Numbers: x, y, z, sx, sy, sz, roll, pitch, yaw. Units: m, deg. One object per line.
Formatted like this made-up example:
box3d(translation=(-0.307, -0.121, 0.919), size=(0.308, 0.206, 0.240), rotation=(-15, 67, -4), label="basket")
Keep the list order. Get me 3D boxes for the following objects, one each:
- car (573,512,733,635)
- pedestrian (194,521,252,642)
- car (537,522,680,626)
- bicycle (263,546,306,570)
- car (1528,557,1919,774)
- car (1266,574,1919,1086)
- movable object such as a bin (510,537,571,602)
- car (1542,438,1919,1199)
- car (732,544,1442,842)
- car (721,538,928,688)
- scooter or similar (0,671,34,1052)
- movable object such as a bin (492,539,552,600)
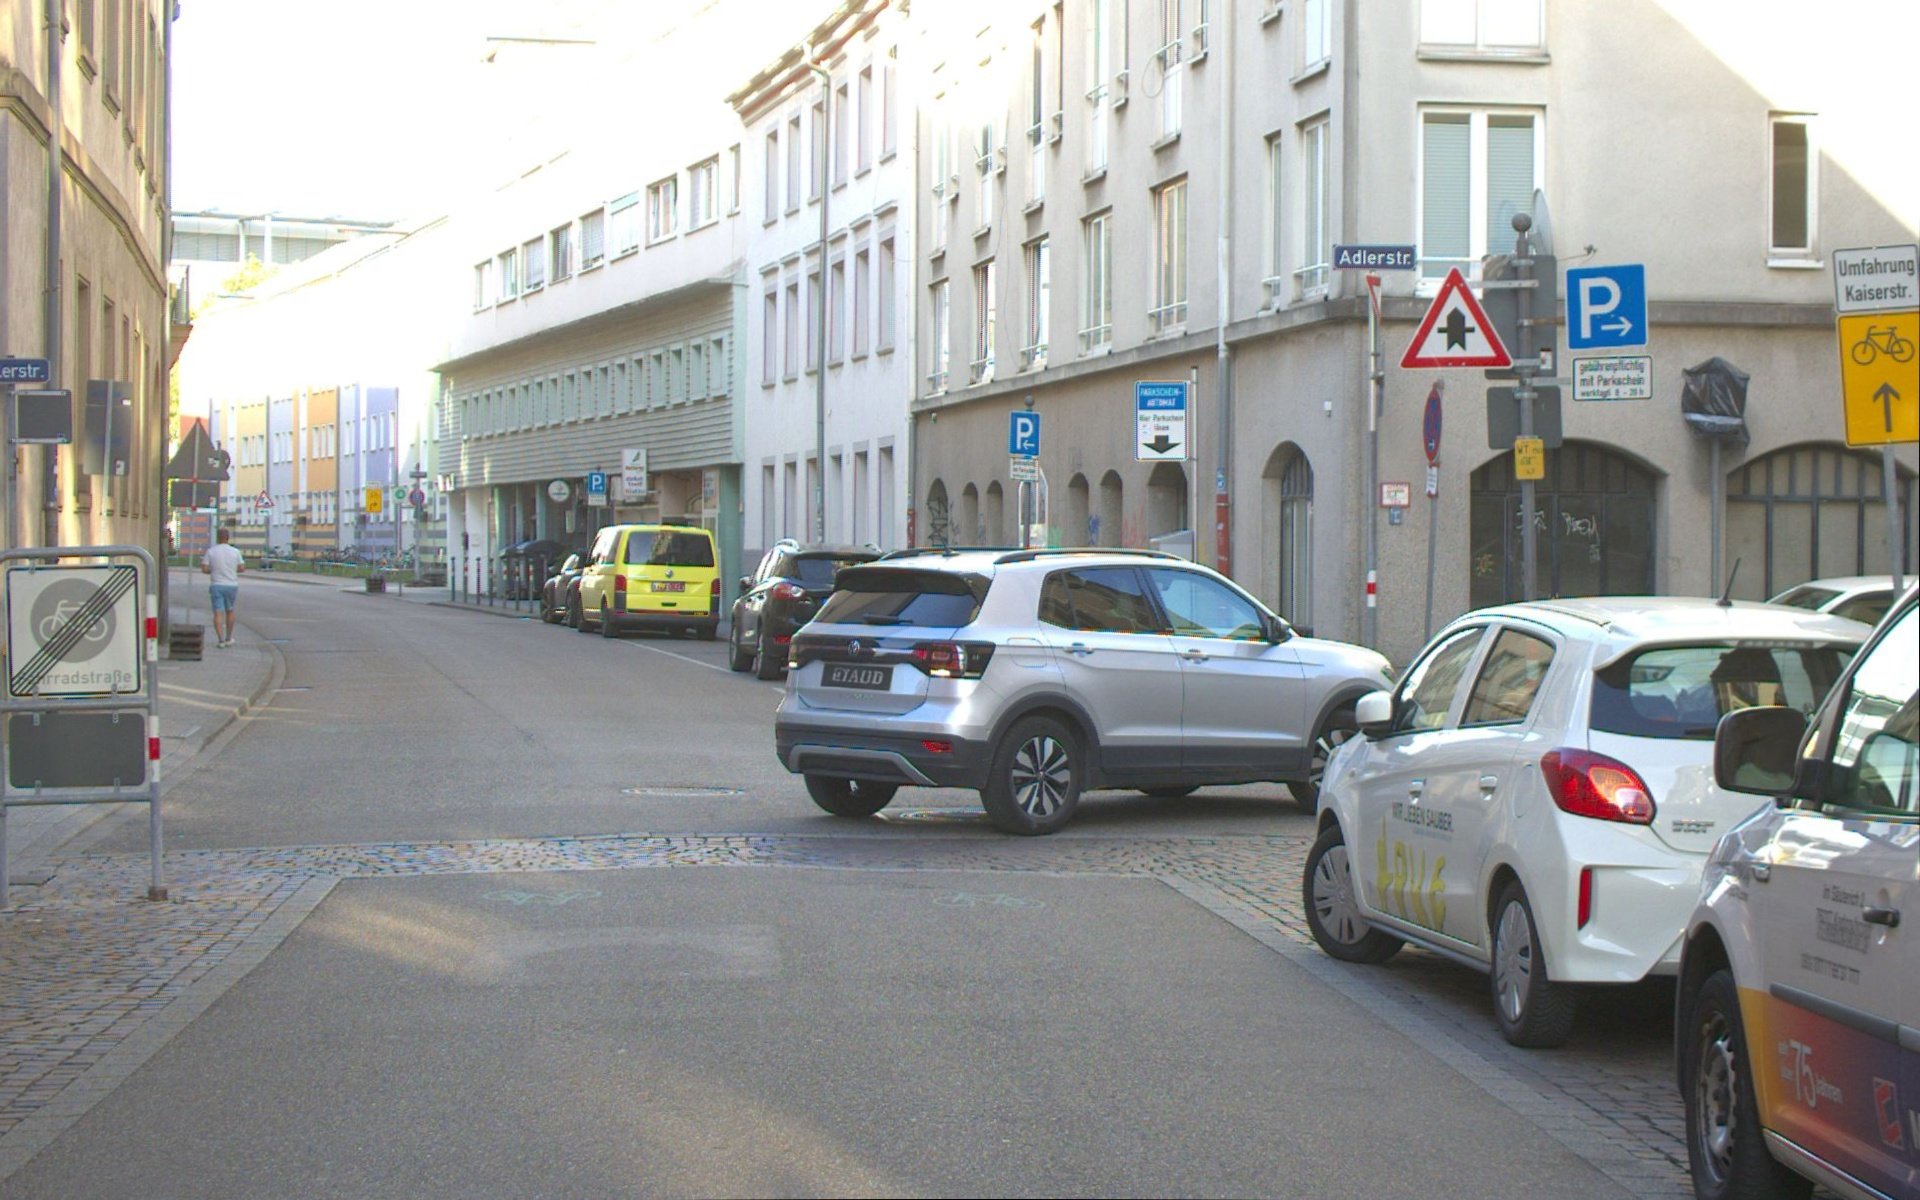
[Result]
box3d(translation=(-5.282, -0.479, 58.721), size=(2.052, 2.007, 4.176), rotation=(0, 1, -15), label="car")
box3d(translation=(-10.590, -0.267, 49.399), size=(0.765, 1.718, 0.687), rotation=(1, 1, -16), label="pedestrian")
box3d(translation=(-6.621, -0.518, 64.461), size=(2.052, 1.866, 4.101), rotation=(0, 1, -15), label="car")
box3d(translation=(-28.793, -1.779, 146.571), size=(1.780, 0.997, 0.547), rotation=(1, 1, -15), label="bicycle")
box3d(translation=(6.662, 0.488, 26.284), size=(4.215, 1.548, 1.902), rotation=(1, 1, -4), label="car")
box3d(translation=(2.492, 0.700, 12.579), size=(1.888, 1.513, 4.064), rotation=(1, 1, -7), label="car")
box3d(translation=(-10.107, -0.741, 82.788), size=(1.131, 1.552, 1.740), rotation=(0, 1, -18), label="movable object such as a bin")
box3d(translation=(2.607, 0.618, 6.624), size=(1.830, 1.785, 5.214), rotation=(2, 1, -2), label="car")
box3d(translation=(0.808, 0.459, 20.152), size=(3.989, 1.557, 1.842), rotation=(-1, 1, -41), label="car")
box3d(translation=(-1.729, 0.119, 42.381), size=(1.967, 1.686, 4.102), rotation=(2, 1, -10), label="car")
box3d(translation=(-3.610, 0.849, 10.685), size=(0.698, 1.213, 1.355), rotation=(0, 1, 25), label="scooter or similar")
box3d(translation=(-10.765, -0.752, 84.467), size=(1.131, 1.474, 1.740), rotation=(0, 1, -18), label="movable object such as a bin")
